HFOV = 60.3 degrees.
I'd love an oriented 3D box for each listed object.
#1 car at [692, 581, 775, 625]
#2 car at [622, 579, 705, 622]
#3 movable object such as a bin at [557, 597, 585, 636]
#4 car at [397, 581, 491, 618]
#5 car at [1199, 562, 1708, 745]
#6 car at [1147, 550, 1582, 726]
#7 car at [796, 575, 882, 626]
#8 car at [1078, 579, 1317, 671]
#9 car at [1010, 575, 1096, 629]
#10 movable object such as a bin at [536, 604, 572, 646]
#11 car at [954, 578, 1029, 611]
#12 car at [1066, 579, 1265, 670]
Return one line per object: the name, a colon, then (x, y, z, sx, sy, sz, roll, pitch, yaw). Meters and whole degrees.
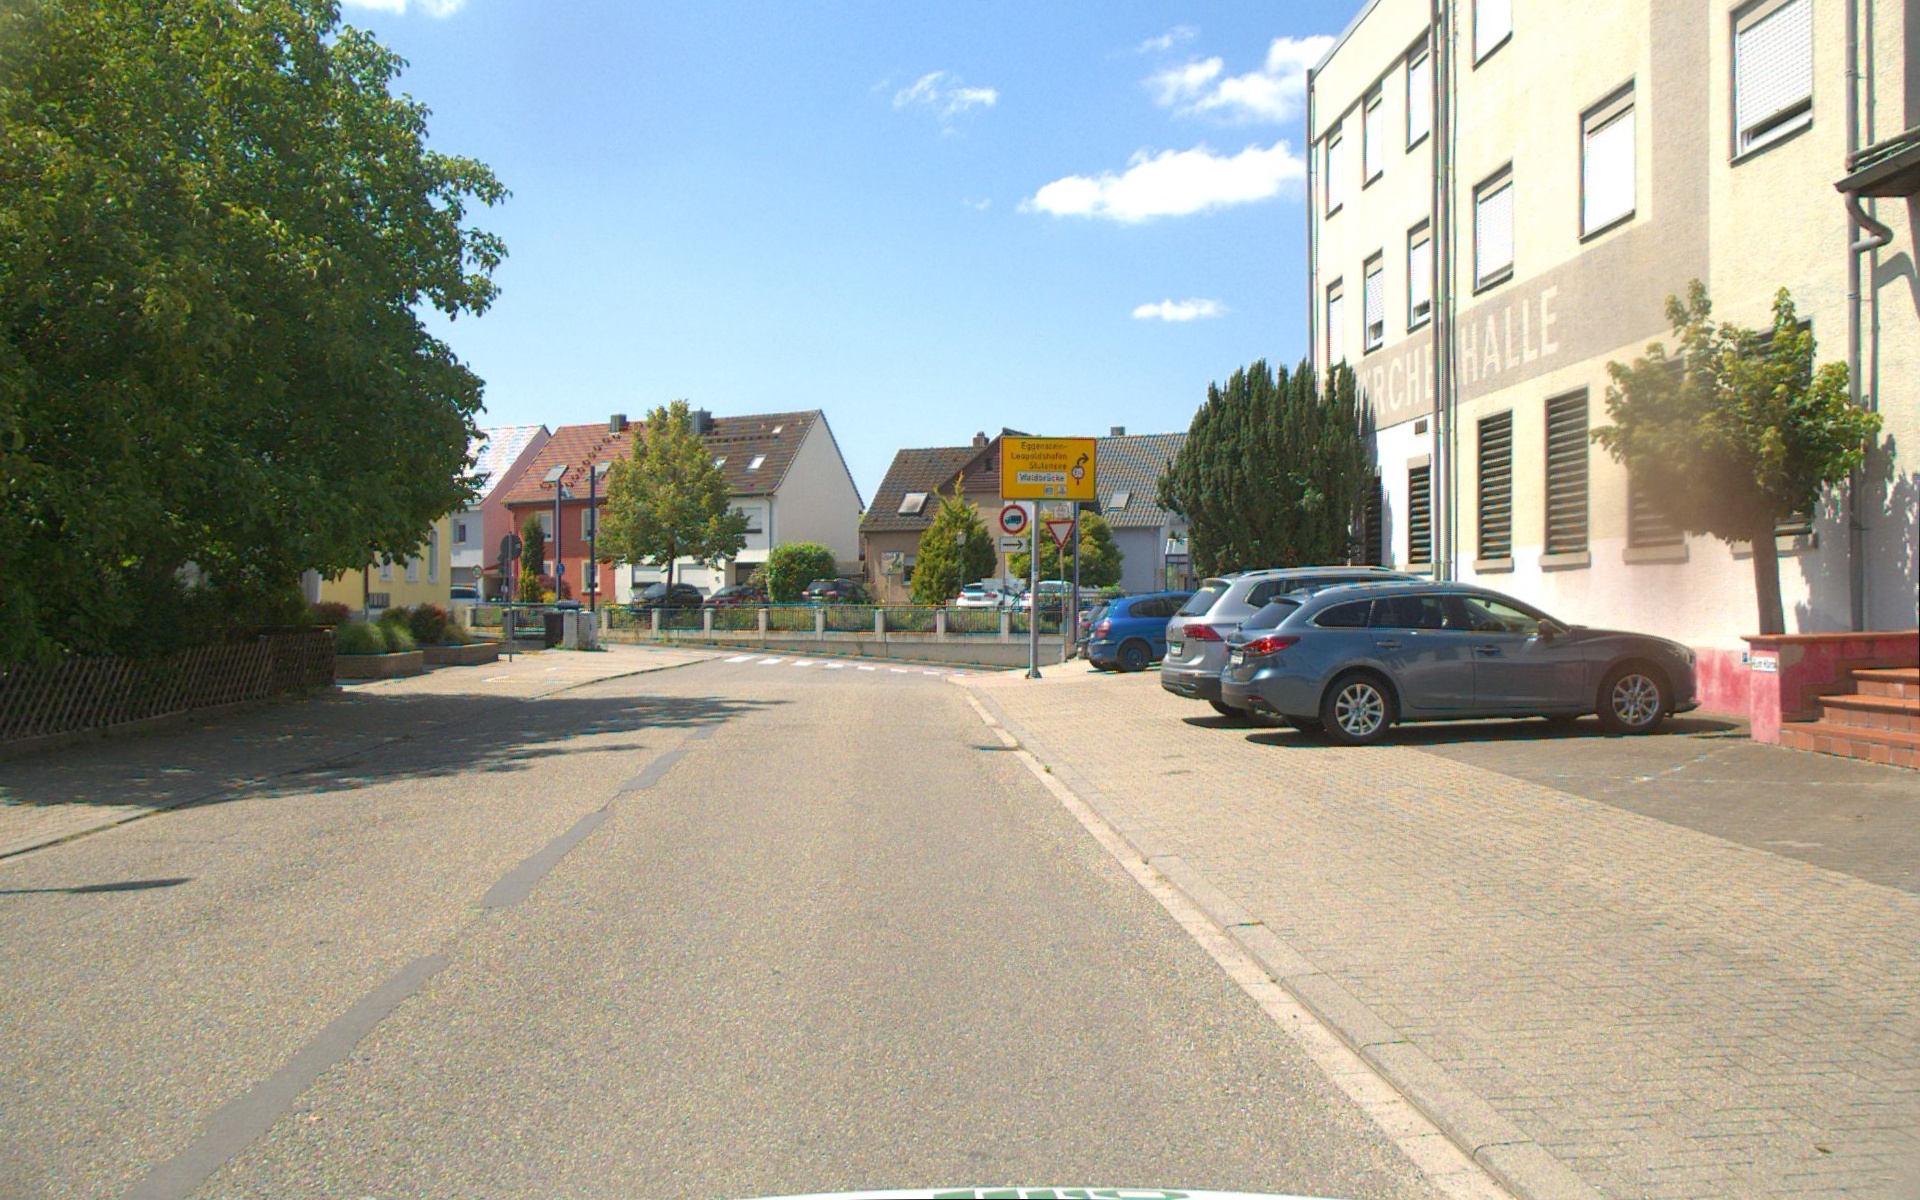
car: (-9.592, 0.161, 70.249, 1.830, 1.614, 3.608, 4, -1, 23)
car: (-12.877, 0.054, 72.052, 1.830, 1.614, 3.608, 4, -1, 23)
movable object such as a bin: (-12.564, 0.517, 53.378, 0.826, 1.235, 1.271, 1, -1, -16)
car: (-25.007, 0.005, 80.291, 1.710, 1.514, 4.248, 4, -1, 29)
car: (4.793, 0.490, 16.472, 4.412, 1.546, 1.998, -2, 0, -5)
car: (4.482, 0.391, 18.727, 4.367, 1.726, 1.920, -2, 0, -6)
car: (-4.982, 0.055, 68.565, 1.830, 1.828, 3.998, 4, -1, 23)
car: (4.570, 0.512, 32.156, 4.238, 1.465, 1.778, -4, -2, -5)
car: (3.656, 0.112, 64.418, 1.954, 1.828, 4.195, 4, -1, 23)
movable object such as a bin: (-12.270, 0.766, 50.024, 0.867, 1.247, 0.902, 1, -1, -2)
car: (1.274, -0.195, 65.425, 1.788, 1.037, 3.458, 4, -1, 23)
car: (4.363, 0.526, 35.414, 3.821, 1.516, 1.807, -6, -1, -6)
